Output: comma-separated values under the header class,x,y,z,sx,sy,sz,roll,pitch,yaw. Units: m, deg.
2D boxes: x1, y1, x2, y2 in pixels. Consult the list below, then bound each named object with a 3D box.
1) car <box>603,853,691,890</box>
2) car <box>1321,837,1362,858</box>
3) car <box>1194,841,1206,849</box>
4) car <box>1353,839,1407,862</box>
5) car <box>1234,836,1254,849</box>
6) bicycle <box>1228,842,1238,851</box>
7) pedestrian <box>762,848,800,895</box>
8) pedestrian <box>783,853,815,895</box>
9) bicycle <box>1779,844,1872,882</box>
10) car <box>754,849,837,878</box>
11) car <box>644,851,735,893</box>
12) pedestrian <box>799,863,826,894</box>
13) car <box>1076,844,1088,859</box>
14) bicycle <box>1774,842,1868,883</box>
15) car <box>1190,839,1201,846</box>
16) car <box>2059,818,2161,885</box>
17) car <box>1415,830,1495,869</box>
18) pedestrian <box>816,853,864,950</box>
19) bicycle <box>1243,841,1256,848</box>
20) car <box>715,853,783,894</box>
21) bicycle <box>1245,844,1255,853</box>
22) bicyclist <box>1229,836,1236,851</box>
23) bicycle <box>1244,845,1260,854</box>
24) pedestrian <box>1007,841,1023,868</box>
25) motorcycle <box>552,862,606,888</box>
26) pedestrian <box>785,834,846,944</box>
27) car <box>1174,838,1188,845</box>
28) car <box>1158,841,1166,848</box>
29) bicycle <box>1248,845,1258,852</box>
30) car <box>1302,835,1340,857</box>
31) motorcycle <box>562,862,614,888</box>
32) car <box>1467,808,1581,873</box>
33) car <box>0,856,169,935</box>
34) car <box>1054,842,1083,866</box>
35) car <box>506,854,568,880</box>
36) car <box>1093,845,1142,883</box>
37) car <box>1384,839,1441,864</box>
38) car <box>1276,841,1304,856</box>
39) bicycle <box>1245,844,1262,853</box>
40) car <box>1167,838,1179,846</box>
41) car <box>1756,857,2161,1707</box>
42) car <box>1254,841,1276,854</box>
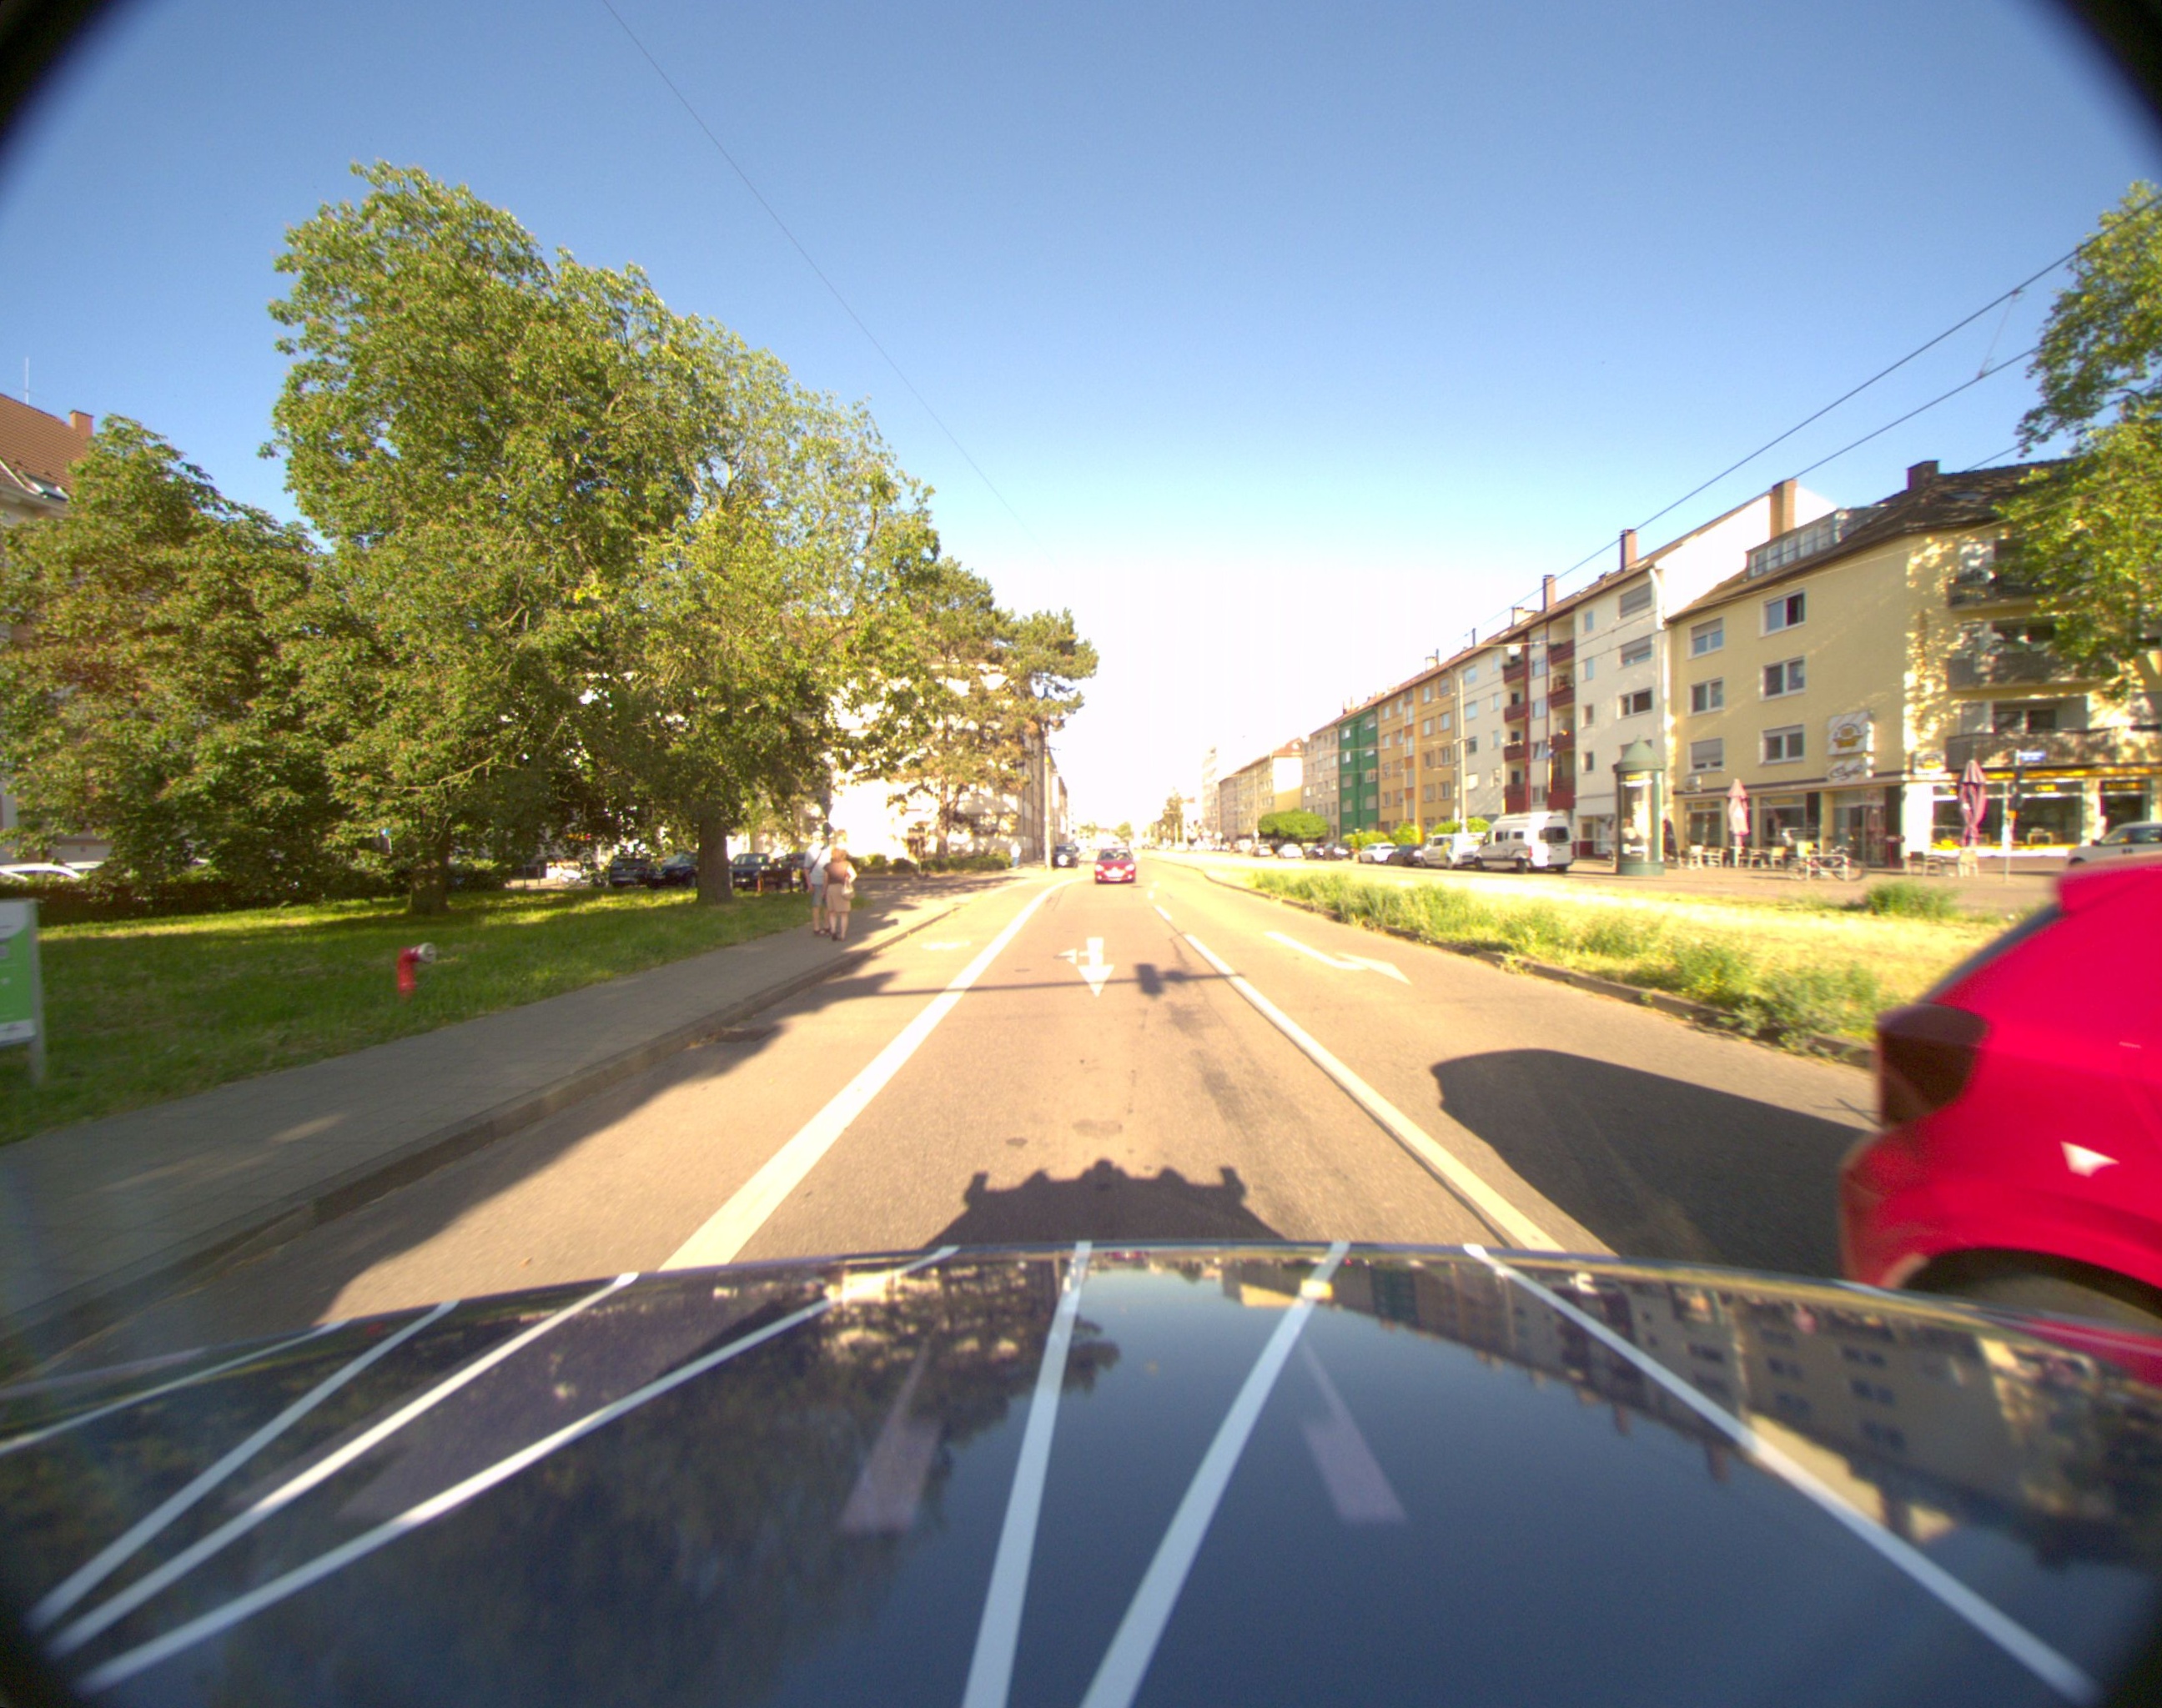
class,x,y,z,sx,sy,sz,roll,pitch,yaw
car,-18.685,0.695,32.924,1.640,1.432,4.239,0,1,-4
car,22.182,-0.560,64.886,1.998,1.598,4.150,-4,1,1
car,28.578,-2.101,182.227,1.999,1.887,4.669,-3,1,-1
car,21.709,-0.271,55.368,1.897,1.483,4.702,-3,1,-1
car,27.629,-1.914,128.911,1.999,1.938,5.499,-4,1,-2
bicycle,20.341,-0.993,101.726,0.770,1.140,2.474,1,1,1
pedestrian,-9.287,0.540,23.520,0.685,1.365,0.756,-3,1,28
pedestrian,-8.627,0.597,23.241,0.403,1.219,0.762,-3,1,28
bicycle,24.157,0.266,24.699,0.520,1.177,2.084,-4,3,-33
car,-16.041,0.504,42.661,4.294,1.494,1.771,0,4,25
car,-15.781,0.662,30.820,1.455,1.563,3.809,0,1,5
pedestrian,-8.167,0.737,23.109,0.403,0.929,0.624,-3,-1,28
car,0.198,-0.479,145.261,2.156,2.681,6.291,1,1,1
bicycle,23.695,0.250,24.372,0.520,1.245,2.085,-4,2,-33
car,24.116,-2.325,160.049,1.698,1.440,4.217,0,1,2
car,31.972,-0.106,22.278,1.996,1.816,4.003,-3,1,15
car,21.538,-0.297,44.072,2.037,2.009,5.370,-4,1,2
pedestrian,-3.898,0.752,12.319,0.530,1.520,0.627,1,2,7
bicycle,27.769,-1.584,125.146,2.103,1.099,0.472,-4,1,1
car,-13.086,0.706,30.182,1.641,1.485,3.804,0,1,-10
bicycle,22.071,-0.752,99.342,0.511,1.086,1.934,-4,1,-11
bicyclist,20.323,-1.379,101.878,0.775,2.002,0.648,-4,1,1
bicycle,23.475,-0.581,104.126,2.052,1.086,0.616,-3,1,7
pedestrian,-4.300,0.037,49.386,0.882,1.712,0.725,-1,1,7
motorcycle,-21.452,0.879,32.490,1.785,1.066,0.713,1,0,-15
pedestrian,-4.474,0.575,12.817,0.704,1.779,0.694,1,0,7
car,20.701,-2.523,157.414,1.839,1.377,4.412,0,1,-5
car,19.980,-2.303,188.137,1.617,1.550,3.999,1,1,0
bicycle,22.540,-0.686,99.505,0.377,0.861,2.052,-4,1,-11
car,22.051,-0.738,69.904,1.998,1.827,4.608,-3,1,1
motorcycle,-21.578,0.923,33.288,1.785,1.066,0.713,1,0,-15
car,21.428,-0.653,37.119,2.037,2.852,6.227,-2,1,2
car,-26.387,1.075,19.427,3.996,1.783,1.768,-4,1,2
car,-0.897,-0.036,57.175,1.883,1.707,4.933,2,1,2
car,-39.165,0.932,54.714,3.991,1.602,1.802,-3,1,24
car,1.449,0.367,31.033,1.862,1.462,3.808,0,1,1
car,21.700,-0.161,49.879,1.699,1.506,4.325,-2,1,-2
car,22.120,-0.596,80.503,1.733,1.446,4.375,-2,1,1
bicycle,23.052,-0.731,101.708,2.052,1.086,0.616,-3,1,7
car,19.999,-2.608,165.055,1.788,1.519,4.413,0,1,-4
car,3.077,0.795,0.392,1.701,1.500,3.693,-3,1,-19
car,22.588,-0.808,93.499,1.640,1.434,3.733,-3,1,-1
